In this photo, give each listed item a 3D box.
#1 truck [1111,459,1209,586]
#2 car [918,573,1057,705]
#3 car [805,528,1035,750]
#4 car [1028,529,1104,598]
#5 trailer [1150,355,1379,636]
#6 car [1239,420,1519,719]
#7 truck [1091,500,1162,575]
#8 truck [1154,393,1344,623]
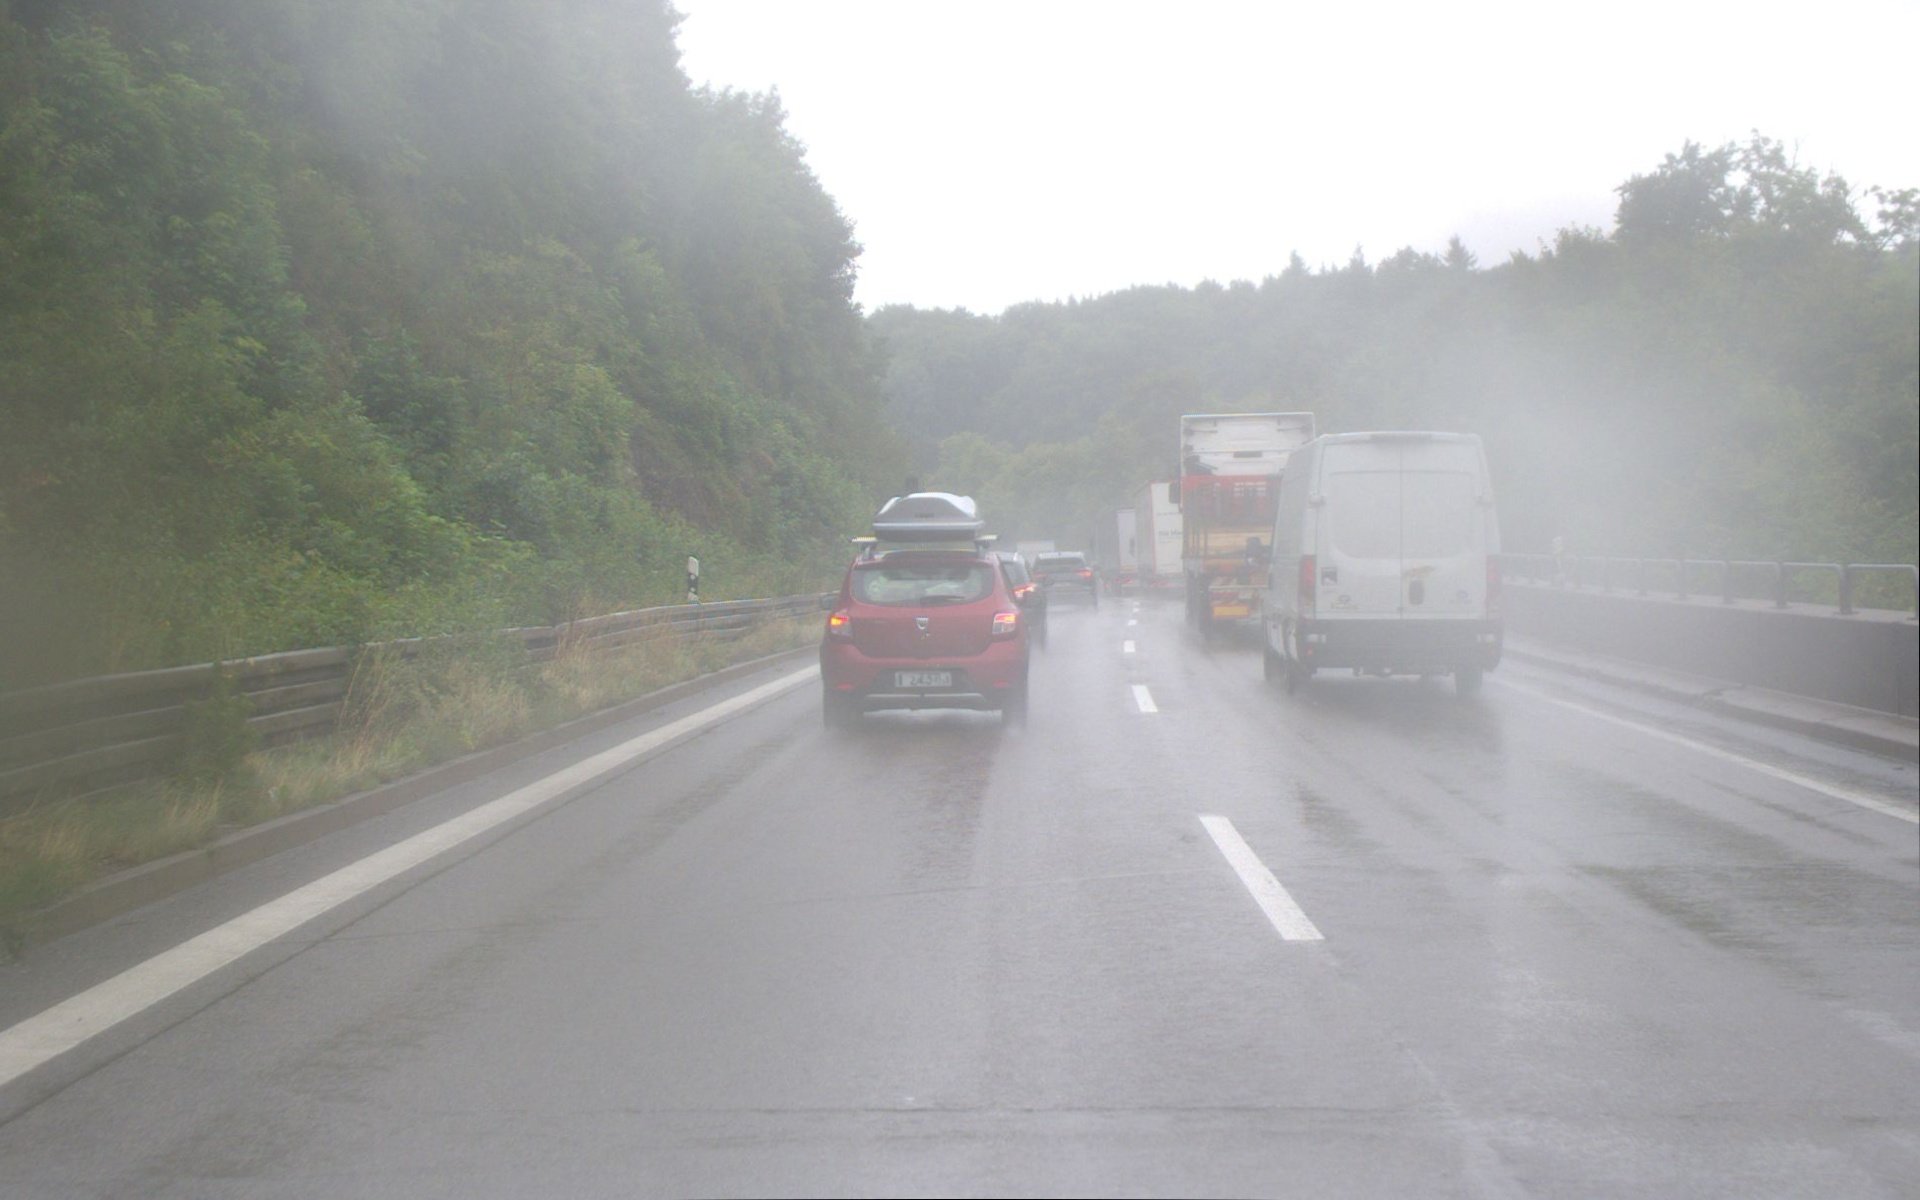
[{"bbox_3d":[6.888,-2.654,119.442,2.687,4.080,9.315,-4,1,1],"label":"truck"},{"bbox_3d":[0.388,0.526,49.705,1.833,1.709,3.645,-4,1,0],"label":"car"},{"bbox_3d":[-0.311,0.293,29.806,1.758,1.679,4.000,-4,1,0],"label":"car"},{"bbox_3d":[2.813,-0.976,91.752,1.875,1.700,3.888,-4,1,1],"label":"car"},{"bbox_3d":[4.849,-1.630,56.790,3.219,3.985,13.522,-2,1,4],"label":"trailer"},{"bbox_3d":[4.218,-0.344,35.818,2.206,2.784,7.382,0,1,2],"label":"car"},{"bbox_3d":[7.533,-2.833,156.484,3.062,3.300,8.070,0,1,2],"label":"truck"},{"bbox_3d":[5.259,-1.660,63.230,3.220,3.964,5.438,-2,1,4],"label":"truck"}]
